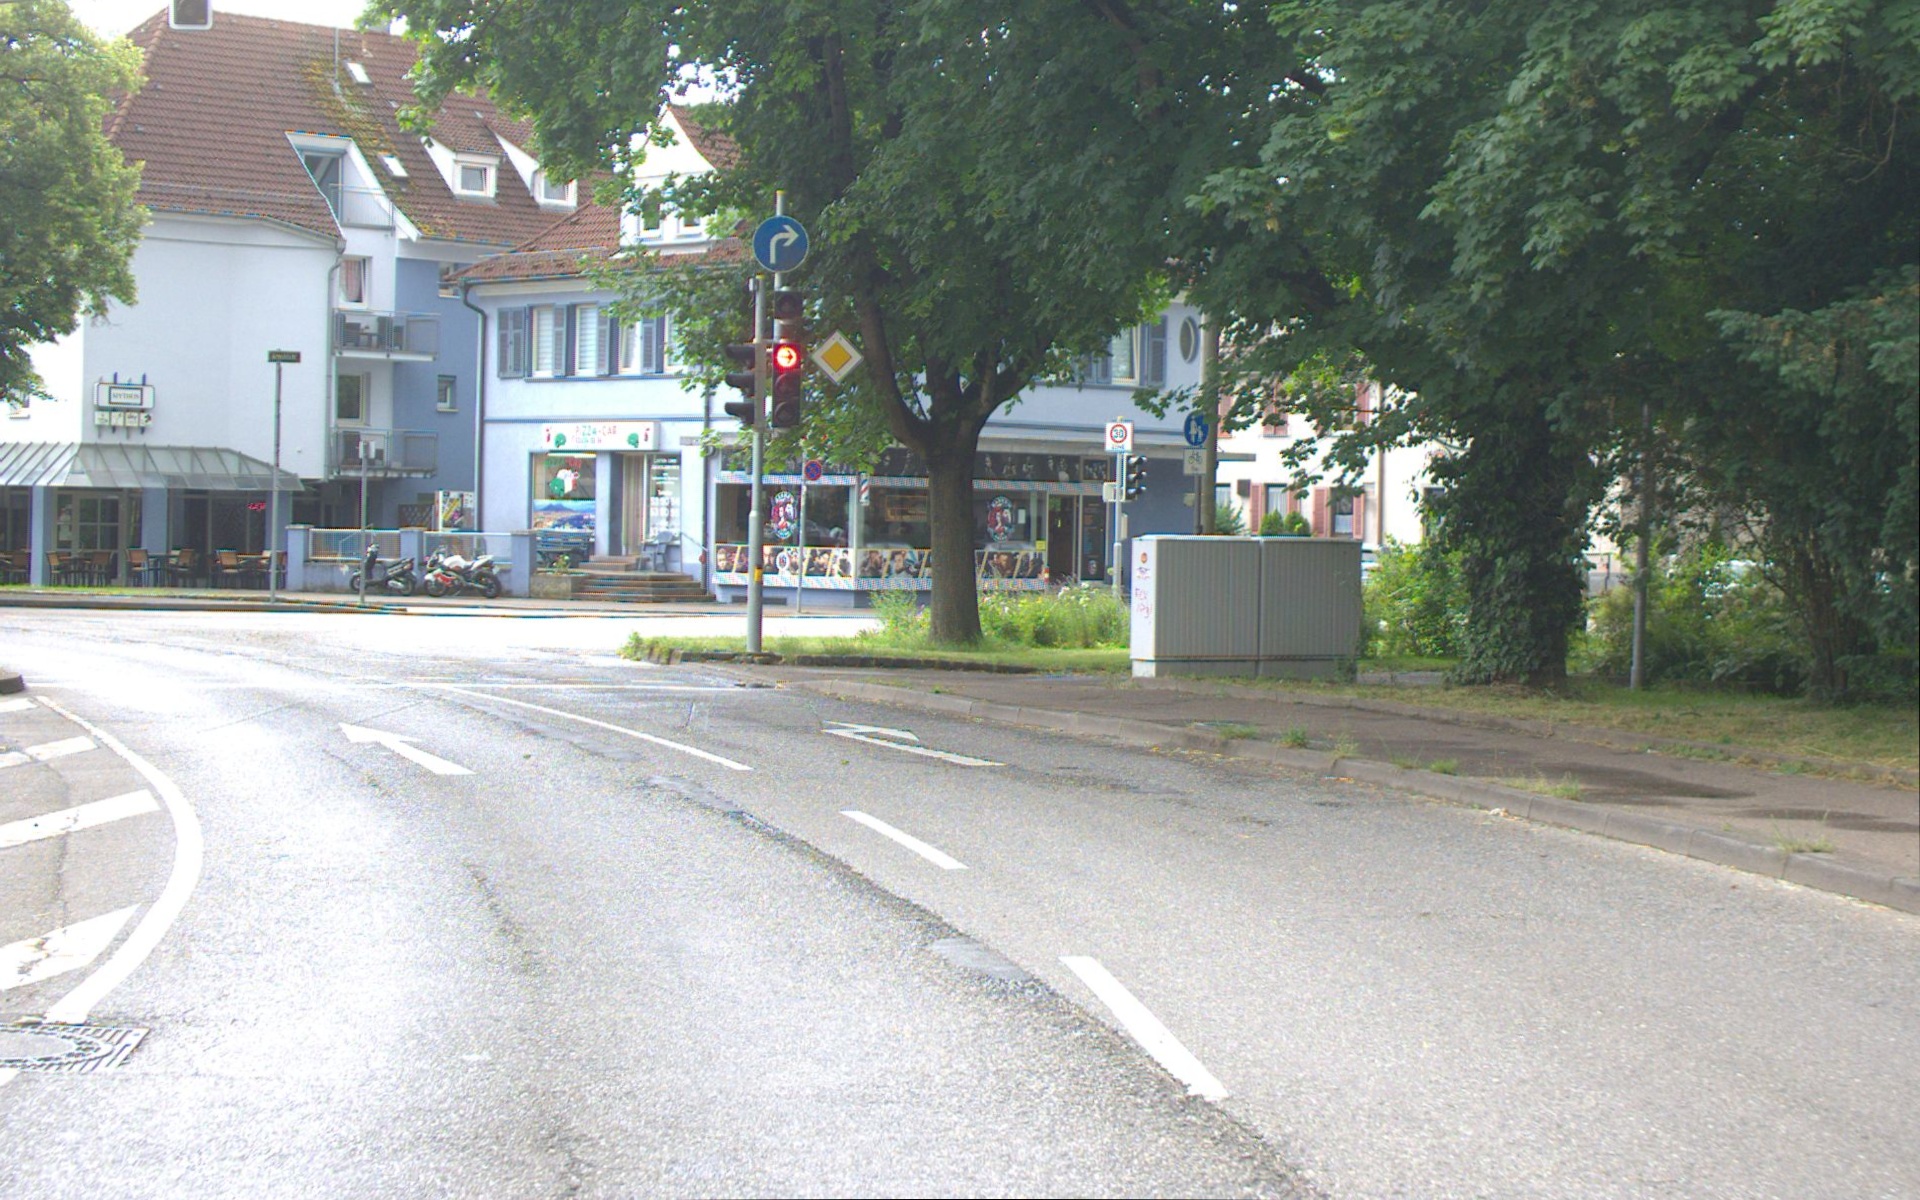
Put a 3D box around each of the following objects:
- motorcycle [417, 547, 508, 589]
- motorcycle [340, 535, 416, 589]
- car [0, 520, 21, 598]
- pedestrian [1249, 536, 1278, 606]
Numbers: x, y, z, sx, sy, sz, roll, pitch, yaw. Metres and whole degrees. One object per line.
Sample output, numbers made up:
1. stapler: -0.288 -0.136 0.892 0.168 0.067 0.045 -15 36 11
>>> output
1. motorcycle: -10.659 -0.695 73.668 1.838 0.845 0.560 0 6 17
2. motorcycle: -12.674 -0.828 74.882 1.496 1.103 0.560 0 6 13
3. car: -21.037 -0.807 67.572 4.580 1.512 1.999 0 1 15
4. pedestrian: 6.795 -0.656 76.915 0.500 1.546 0.404 1 1 42
